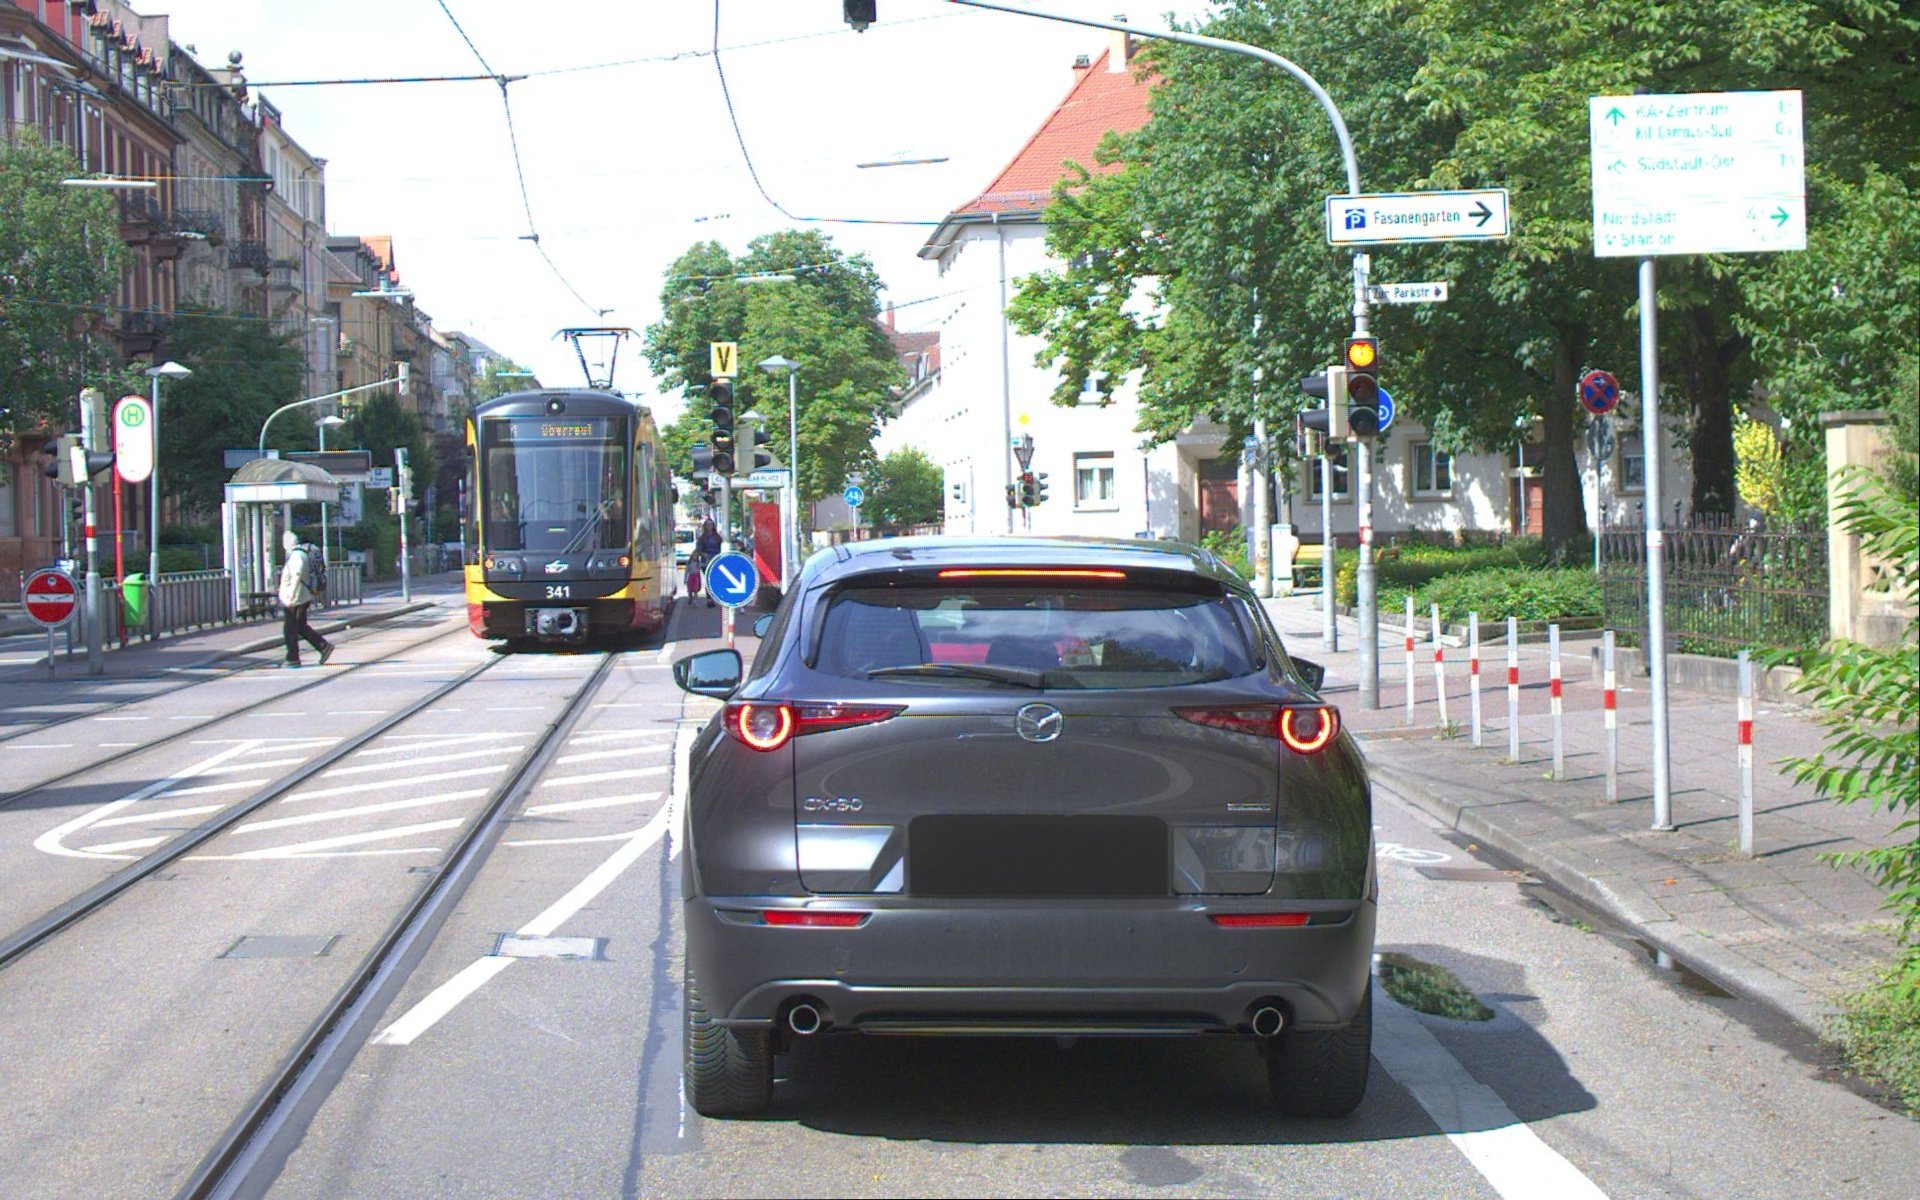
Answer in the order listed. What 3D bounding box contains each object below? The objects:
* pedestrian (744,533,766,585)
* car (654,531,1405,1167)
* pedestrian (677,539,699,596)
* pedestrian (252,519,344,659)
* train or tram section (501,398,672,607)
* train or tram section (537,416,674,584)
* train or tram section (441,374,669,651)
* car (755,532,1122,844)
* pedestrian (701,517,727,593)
[{"bbox_3d":[-3.879,-0.774,65.135,0.379,0.981,0.474,-1,1,-5],"label":"pedestrian"},{"bbox_3d":[0.132,0.557,10.224,1.778,1.494,4.000,1,1,-1],"label":"car"},{"bbox_3d":[-5.122,-0.616,64.839,0.379,1.067,0.474,-1,1,-4],"label":"pedestrian"},{"bbox_3d":[-8.185,-0.141,42.523,0.718,1.699,0.823,-1,1,30],"label":"pedestrian"},{"bbox_3d":[-6.934,-1.915,65.465,2.752,3.478,14.411,-1,2,-5],"label":"train or tram section"},{"bbox_3d":[-8.084,-2.377,79.808,2.752,3.478,14.411,-1,2,-5],"label":"train or tram section"},{"bbox_3d":[-5.777,-1.382,51.126,2.752,3.478,14.411,-1,2,-5],"label":"train or tram section"},{"bbox_3d":[-0.140,0.391,18.830,1.778,1.494,4.000,1,1,-1],"label":"car"},{"bbox_3d":[-4.653,-0.854,64.920,0.450,1.429,0.474,-1,1,-5],"label":"pedestrian"}]
